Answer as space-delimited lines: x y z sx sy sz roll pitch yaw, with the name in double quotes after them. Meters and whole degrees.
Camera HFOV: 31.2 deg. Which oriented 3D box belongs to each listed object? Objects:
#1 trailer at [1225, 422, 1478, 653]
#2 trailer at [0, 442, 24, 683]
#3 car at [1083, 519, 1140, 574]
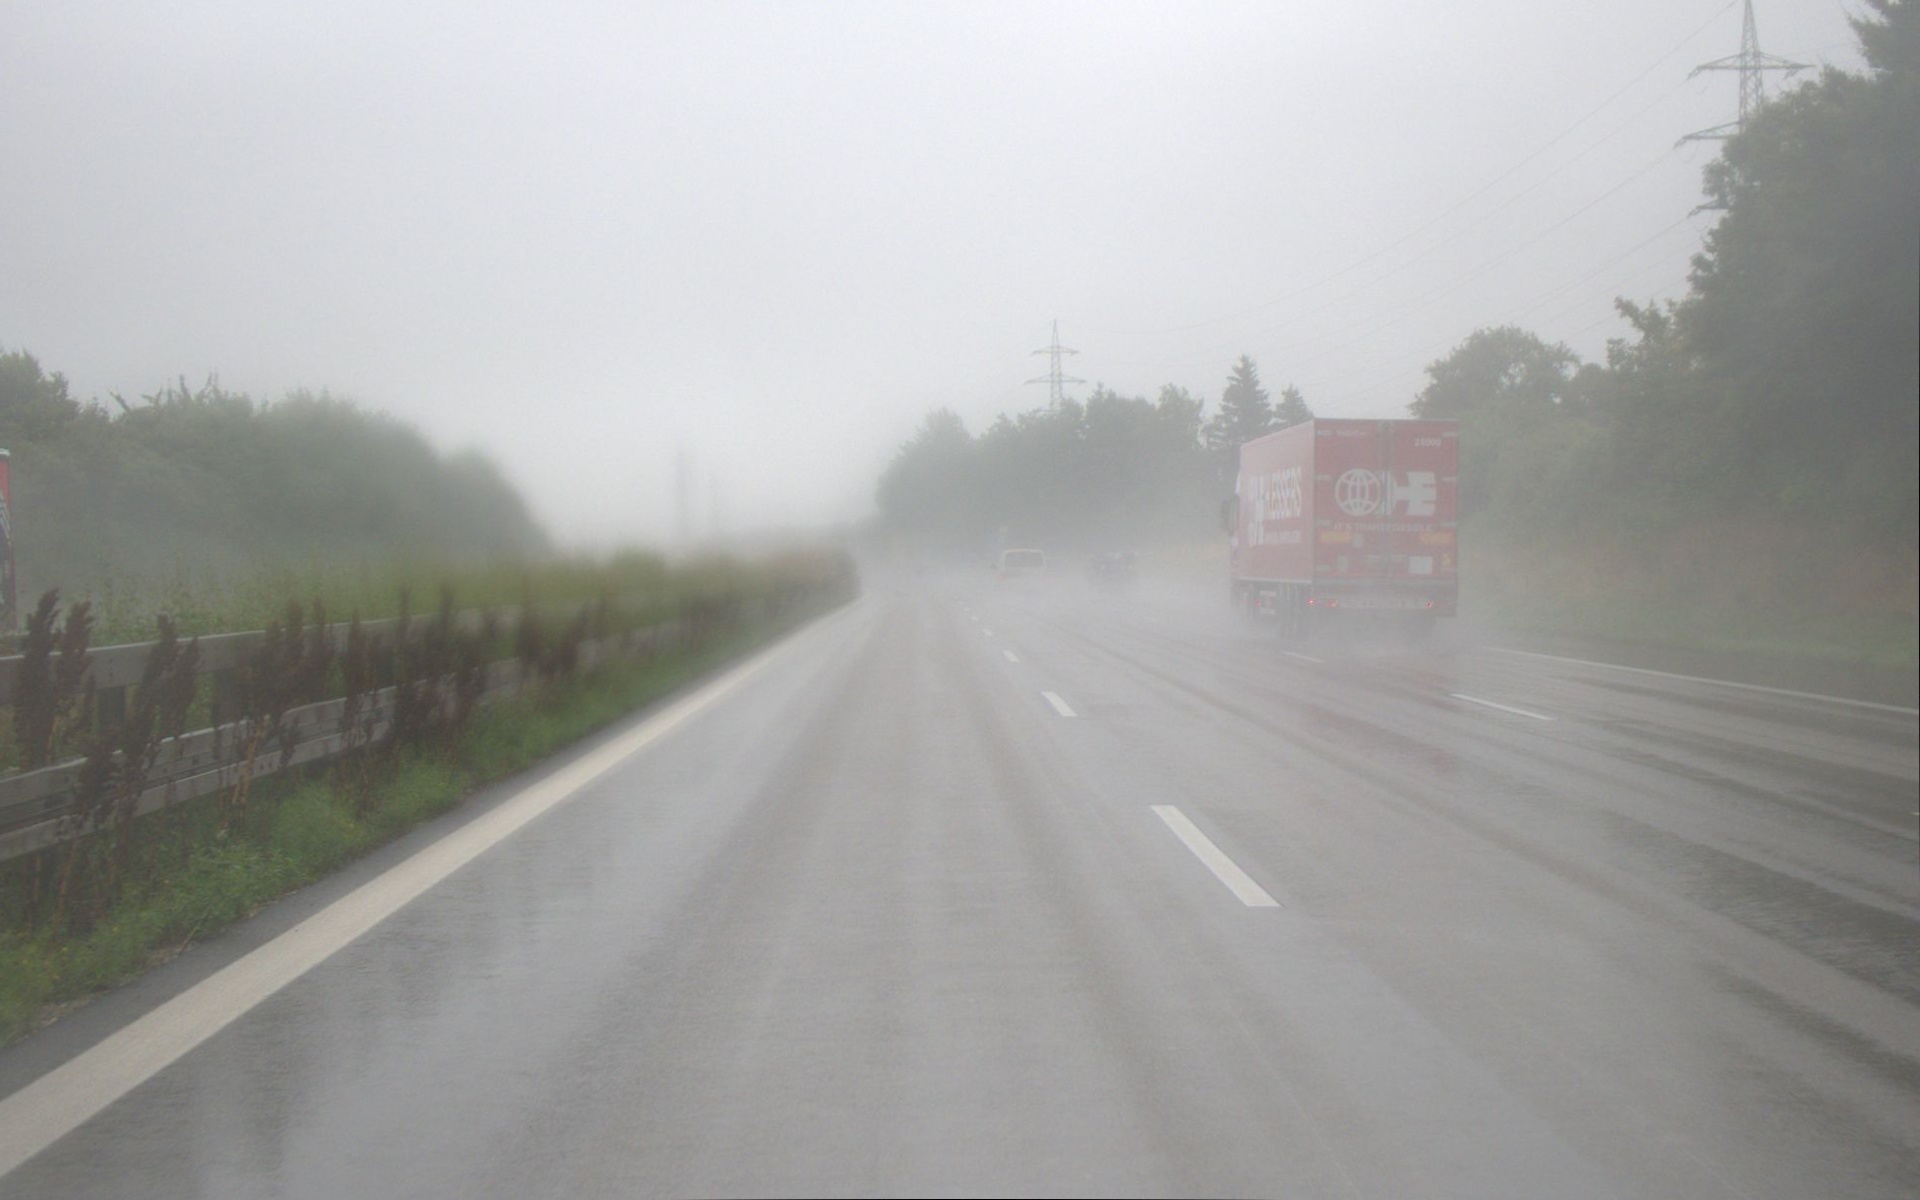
7.416 -1.170 67.281 2.620 3.942 13.632 -3 1 -2 "trailer"
-18.133 -0.631 57.688 2.697 4.216 8.490 0 1 -1 "trailer"
6.131 -2.172 139.443 1.807 2.151 4.001 -2 1 -4 "car"
